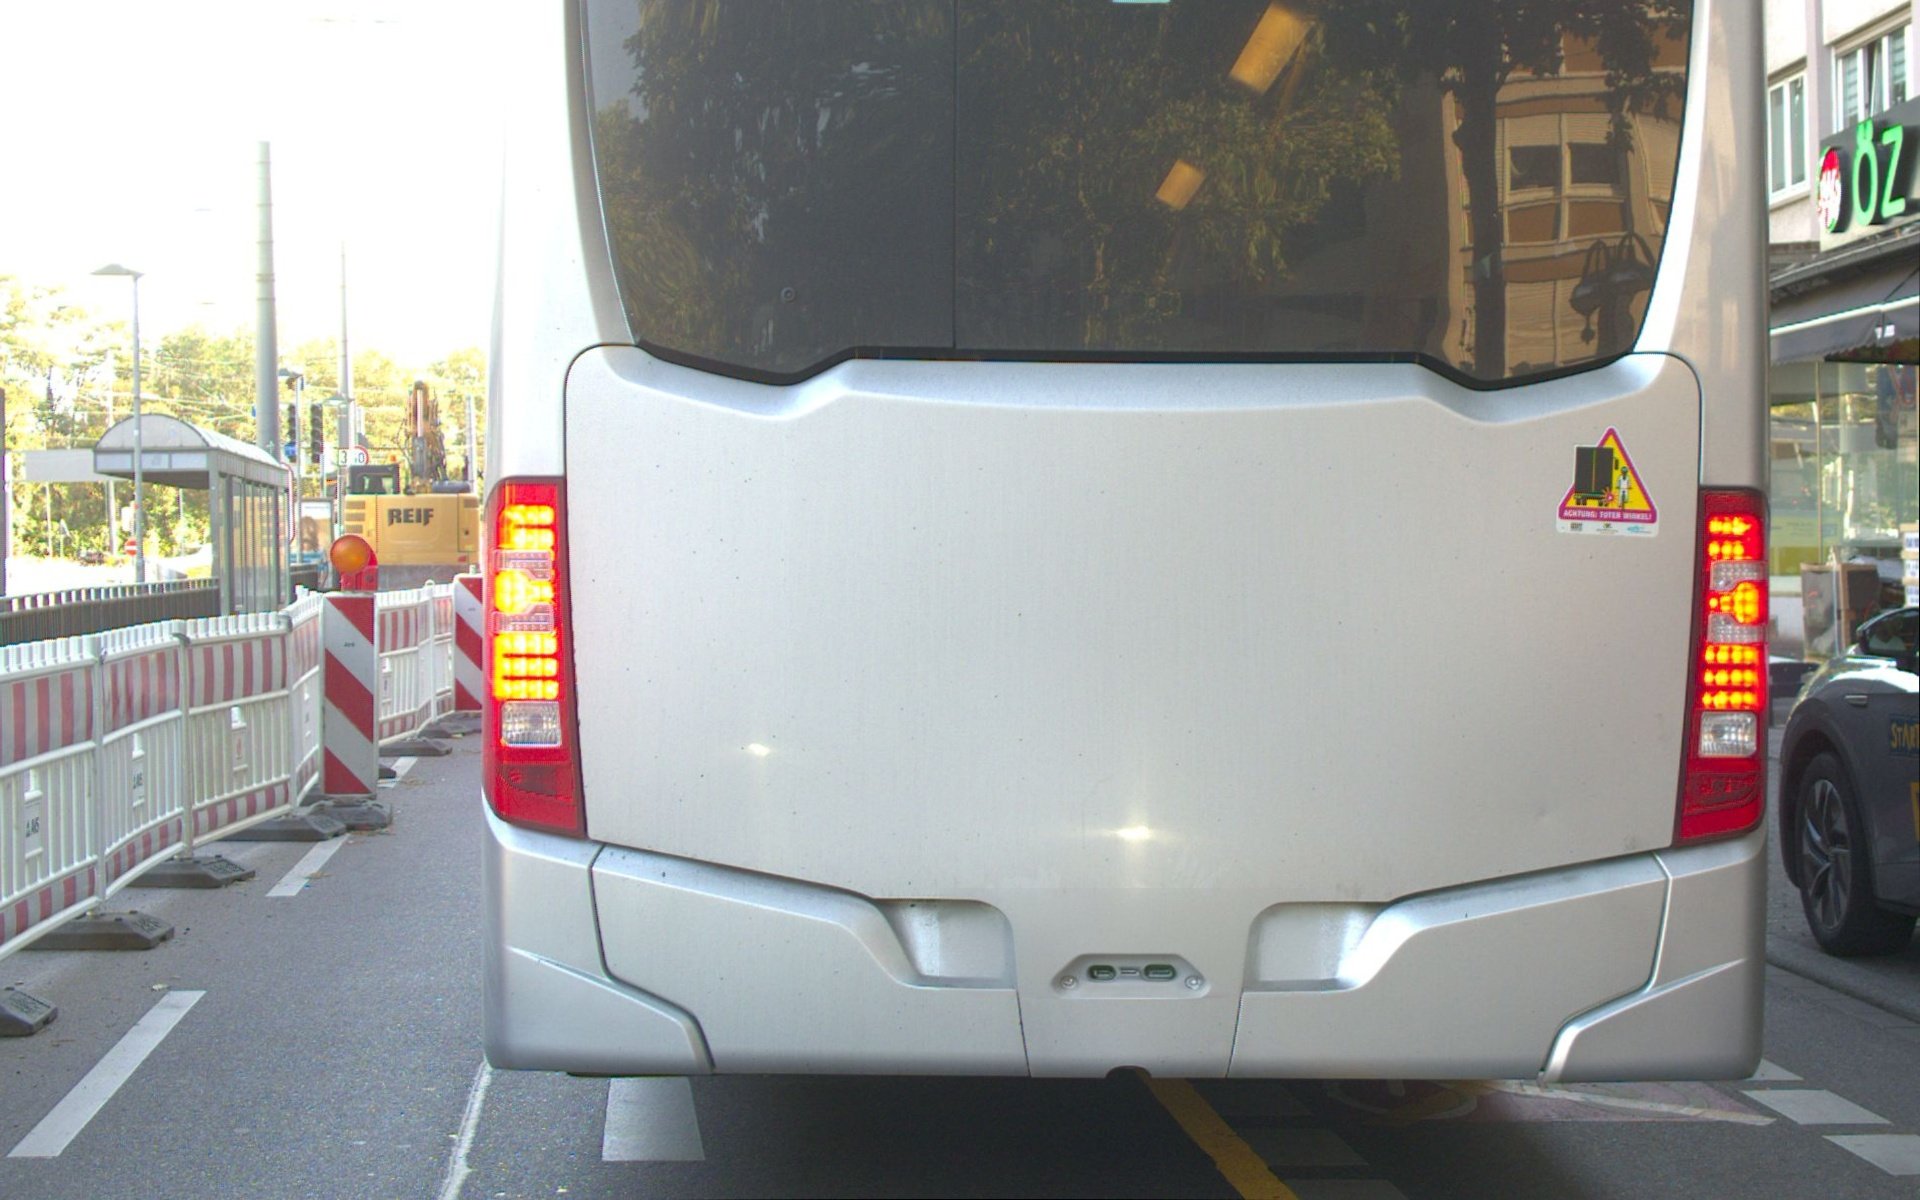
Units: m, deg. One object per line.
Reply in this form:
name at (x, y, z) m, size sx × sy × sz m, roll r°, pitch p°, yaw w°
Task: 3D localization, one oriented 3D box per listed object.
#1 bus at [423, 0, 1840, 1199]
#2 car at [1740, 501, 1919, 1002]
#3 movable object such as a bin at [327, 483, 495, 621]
bus at (0.265, -0.352, 11.480) m, size 2.608 × 3.159 × 10.292 m, roll 0°, pitch 1°, yaw -1°
car at (3.950, 0.455, 10.498) m, size 1.739 × 1.592 × 4.300 m, roll -3°, pitch 1°, yaw -5°
movable object such as a bin at (-10.138, -0.898, 63.819) m, size 2.806 × 2.453 × 4.001 m, roll -1°, pitch 1°, yaw -5°
